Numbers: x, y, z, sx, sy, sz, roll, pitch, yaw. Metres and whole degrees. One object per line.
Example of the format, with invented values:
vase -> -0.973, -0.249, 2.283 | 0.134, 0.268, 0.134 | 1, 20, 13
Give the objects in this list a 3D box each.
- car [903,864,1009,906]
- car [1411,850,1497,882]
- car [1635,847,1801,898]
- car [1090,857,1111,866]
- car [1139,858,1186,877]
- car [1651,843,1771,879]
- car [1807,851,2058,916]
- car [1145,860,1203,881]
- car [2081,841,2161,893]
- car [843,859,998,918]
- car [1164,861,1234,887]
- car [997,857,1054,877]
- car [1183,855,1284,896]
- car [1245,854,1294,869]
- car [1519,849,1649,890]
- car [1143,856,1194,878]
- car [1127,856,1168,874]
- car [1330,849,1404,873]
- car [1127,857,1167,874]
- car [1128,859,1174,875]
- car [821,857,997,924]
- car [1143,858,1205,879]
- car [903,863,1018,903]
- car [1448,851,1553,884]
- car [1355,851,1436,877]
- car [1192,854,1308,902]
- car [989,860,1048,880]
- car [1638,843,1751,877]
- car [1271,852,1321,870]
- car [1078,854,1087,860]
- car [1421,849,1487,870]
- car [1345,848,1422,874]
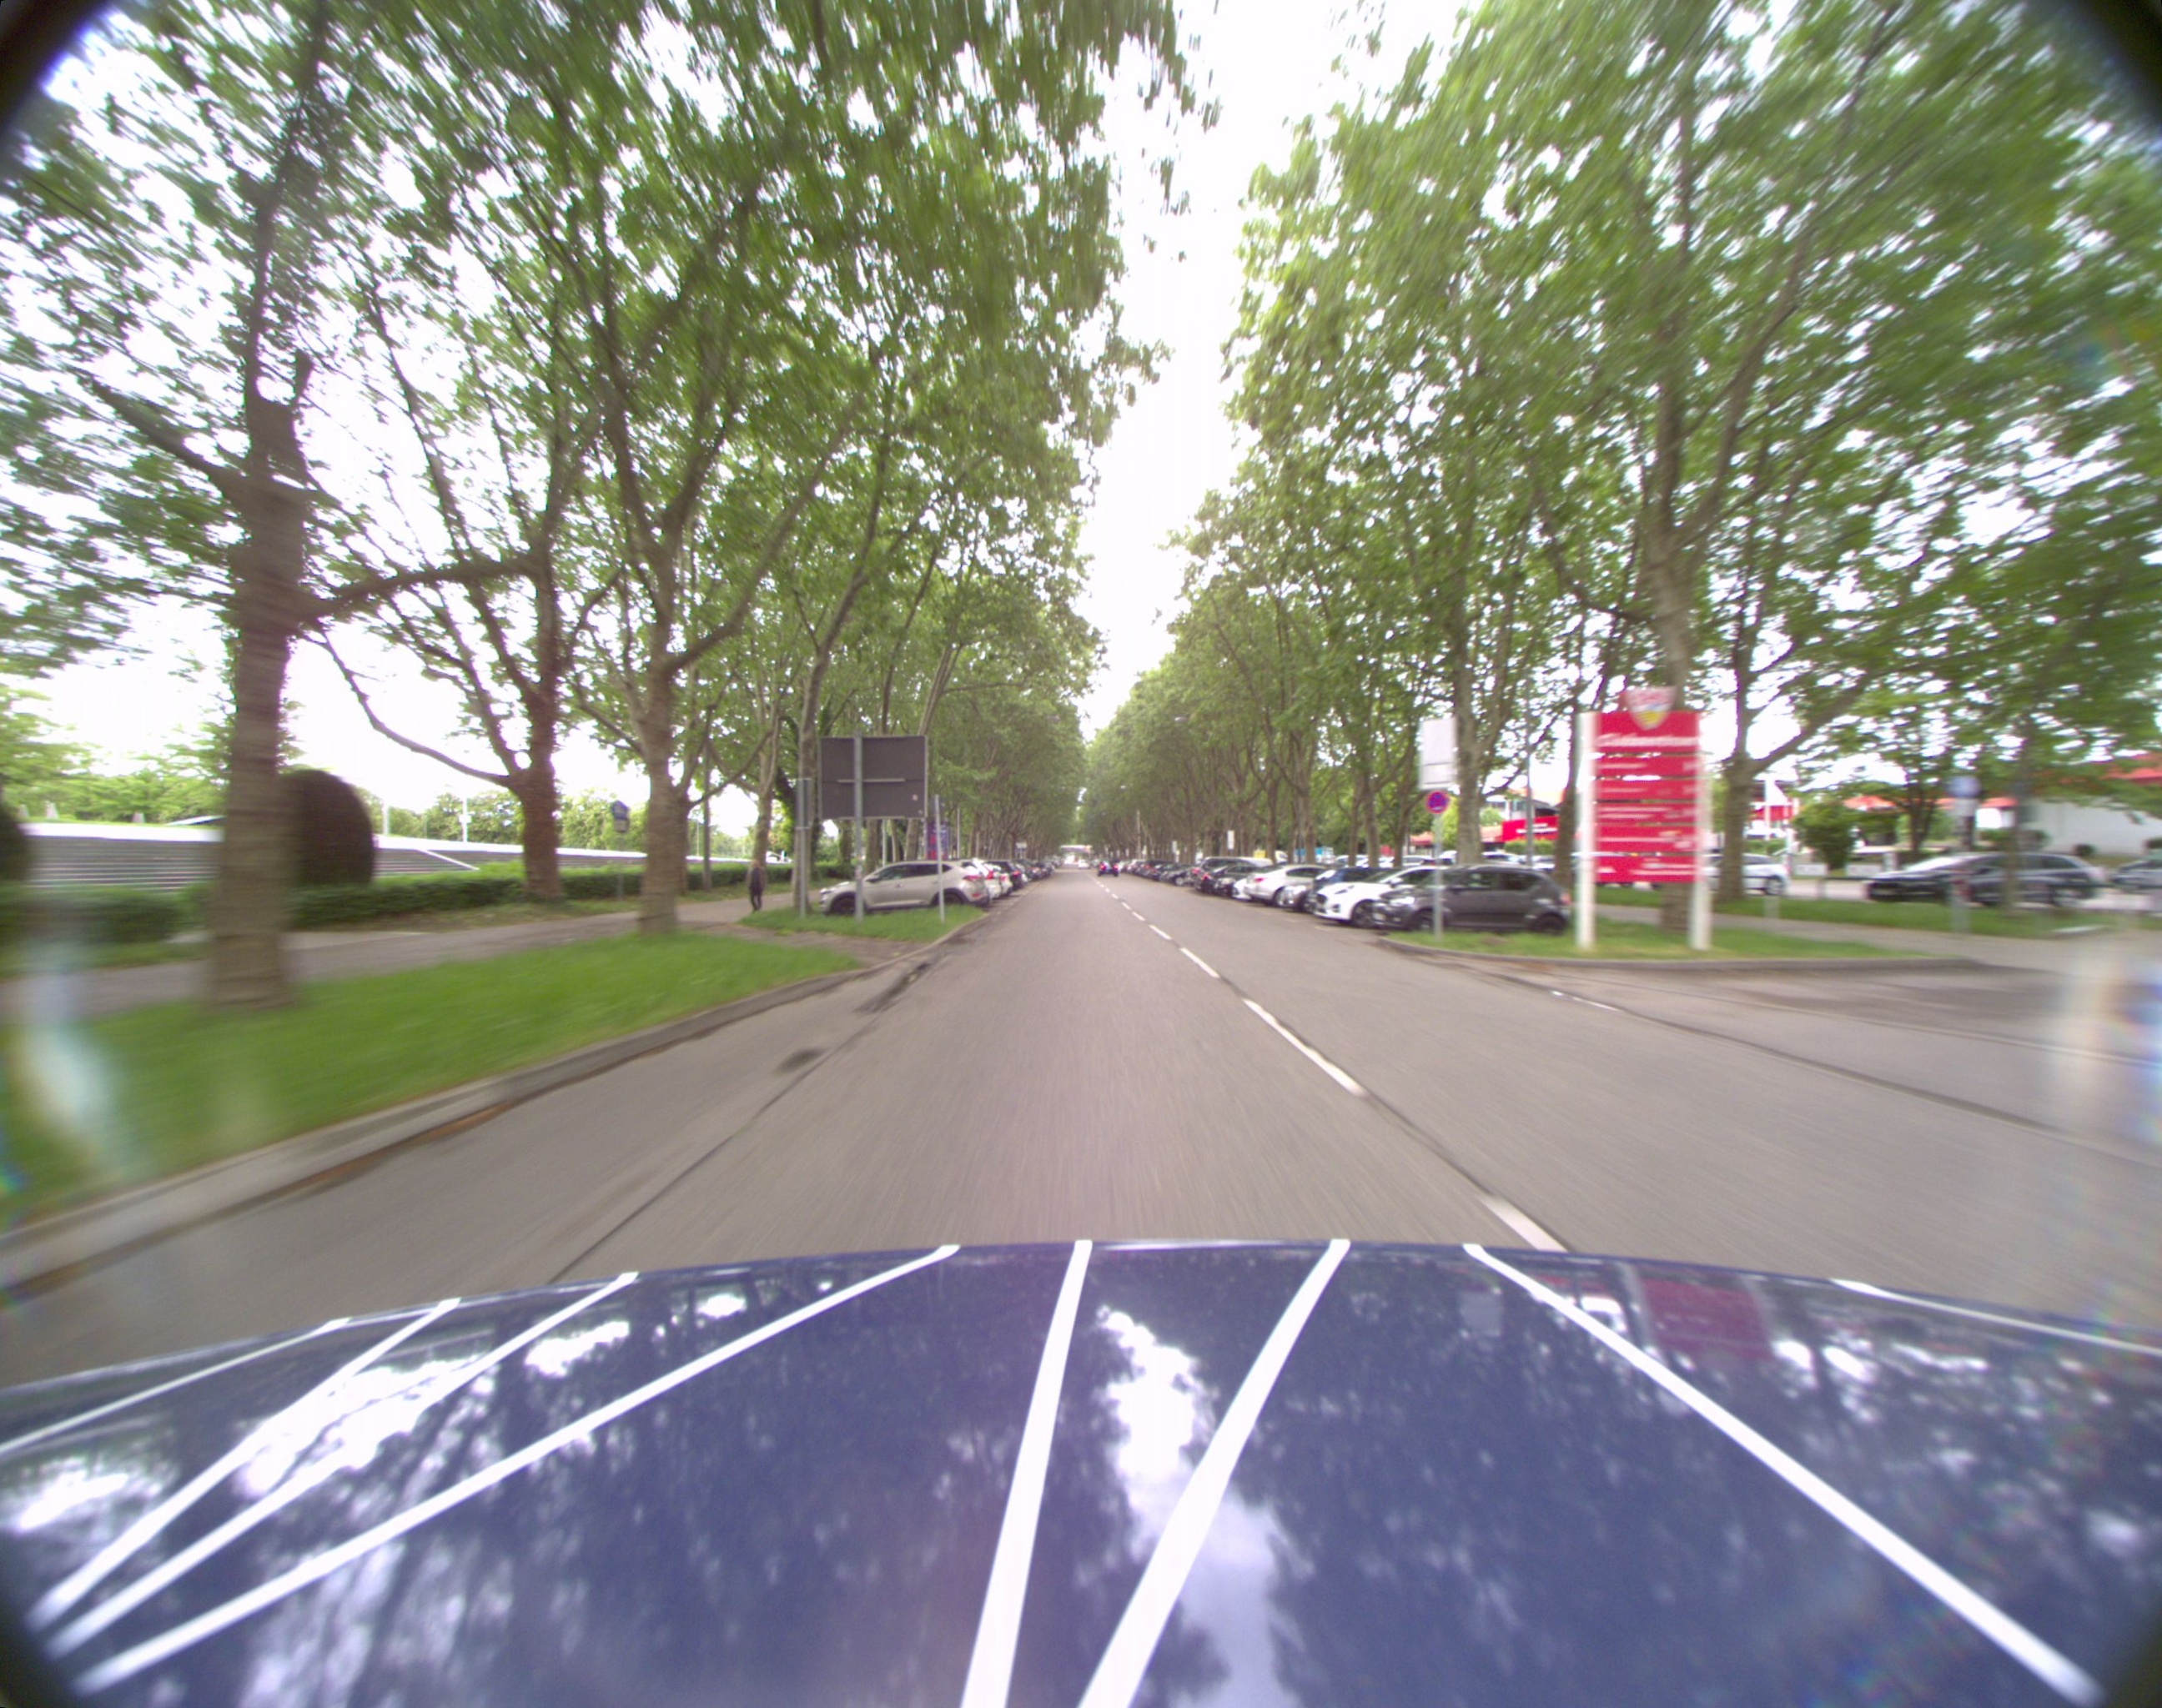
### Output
car -> -4.703, 1.150, 28.981 | 3.741, 1.394, 1.776 | -2, 0, -1
car -> 23.196, 0.731, 47.383 | 4.332, 1.850, 2.028 | -1, 1, -1
car -> 23.078, 0.652, 27.657 | 4.332, 1.699, 2.131 | -1, 1, -1
car -> 4.226, 1.641, 165.851 | 4.492, 1.740, 2.001 | -3, 0, 4
car -> 7.043, 1.164, 65.923 | 3.940, 1.507, 1.728 | 1, 0, 1
car -> 34.441, 0.353, 41.655 | 4.588, 1.844, 2.297 | -1, 1, 4
car -> 22.656, 0.742, 20.372 | 4.332, 1.539, 2.203 | -1, 0, -1
car -> 6.761, 1.192, 55.617 | 3.941, 1.390, 1.703 | 1, 0, -2
car -> 34.455, 0.360, 23.606 | 4.332, 1.539, 1.959 | -1, 1, -1
car -> -4.864, 1.035, 23.522 | 4.357, 1.595, 1.925 | -2, 0, 0
car -> 7.100, 1.182, 45.994 | 3.987, 1.412, 1.756 | 2, 0, 3
car -> -4.595, 1.073, 63.176 | 4.507, 1.420, 1.932 | -2, 0, 0
car -> 7.102, 1.003, 35.818 | 4.328, 1.784, 2.036 | -1, 1, 0
car -> 22.740, 0.889, 91.922 | 5.363, 1.587, 2.094 | -1, 0, -2
car -> 23.189, 0.697, 35.166 | 4.530, 1.752, 2.296 | -1, 1, -1
car -> 7.274, 1.090, 63.518 | 3.941, 1.698, 1.752 | 1, 0, -2
car -> 6.849, 1.136, 78.548 | 3.997, 1.672, 1.855 | -1, 1, 0
car -> 22.547, 0.514, 60.033 | 4.955, 1.786, 2.182 | -1, 1, -3
car -> 7.015, 1.177, 80.975 | 3.997, 1.672, 1.855 | -1, 1, 0
car -> 6.478, 1.239, 70.704 | 4.004, 1.412, 1.703 | 1, 0, -2
car -> -4.619, 0.964, 20.903 | 4.357, 1.624, 1.925 | -2, 0, 0
car -> 7.113, 1.102, 58.287 | 4.475, 1.473, 1.703 | 1, 0, -2
car -> -4.813, 1.166, 30.893 | 4.358, 1.447, 1.949 | -2, -1, -2
car -> 23.198, 0.712, 42.120 | 4.564, 1.715, 2.296 | -1, 0, -1
car -> 22.578, 0.694, 54.710 | 4.955, 1.786, 2.183 | 0, 0, -3
car -> 6.905, 0.978, 31.360 | 4.328, 1.799, 1.867 | 1, 0, 0
car -> -4.997, 1.260, 60.809 | 4.506, 1.411, 1.829 | -2, 0, 1
car -> 35.281, 0.327, 43.814 | 4.588, 1.844, 2.297 | -1, 1, 4
car -> 22.572, 0.725, 79.924 | 4.565, 1.710, 1.999 | 1, 0, -3
car -> 0.336, 0.657, 180.065 | 1.999, 1.375, 4.678 | -3, 0, -3
car -> 33.880, 0.523, 69.096 | 4.955, 1.786, 2.182 | -1, 1, -3
car -> 22.842, 0.520, 57.500 | 4.955, 1.786, 2.182 | -1, 1, -3
